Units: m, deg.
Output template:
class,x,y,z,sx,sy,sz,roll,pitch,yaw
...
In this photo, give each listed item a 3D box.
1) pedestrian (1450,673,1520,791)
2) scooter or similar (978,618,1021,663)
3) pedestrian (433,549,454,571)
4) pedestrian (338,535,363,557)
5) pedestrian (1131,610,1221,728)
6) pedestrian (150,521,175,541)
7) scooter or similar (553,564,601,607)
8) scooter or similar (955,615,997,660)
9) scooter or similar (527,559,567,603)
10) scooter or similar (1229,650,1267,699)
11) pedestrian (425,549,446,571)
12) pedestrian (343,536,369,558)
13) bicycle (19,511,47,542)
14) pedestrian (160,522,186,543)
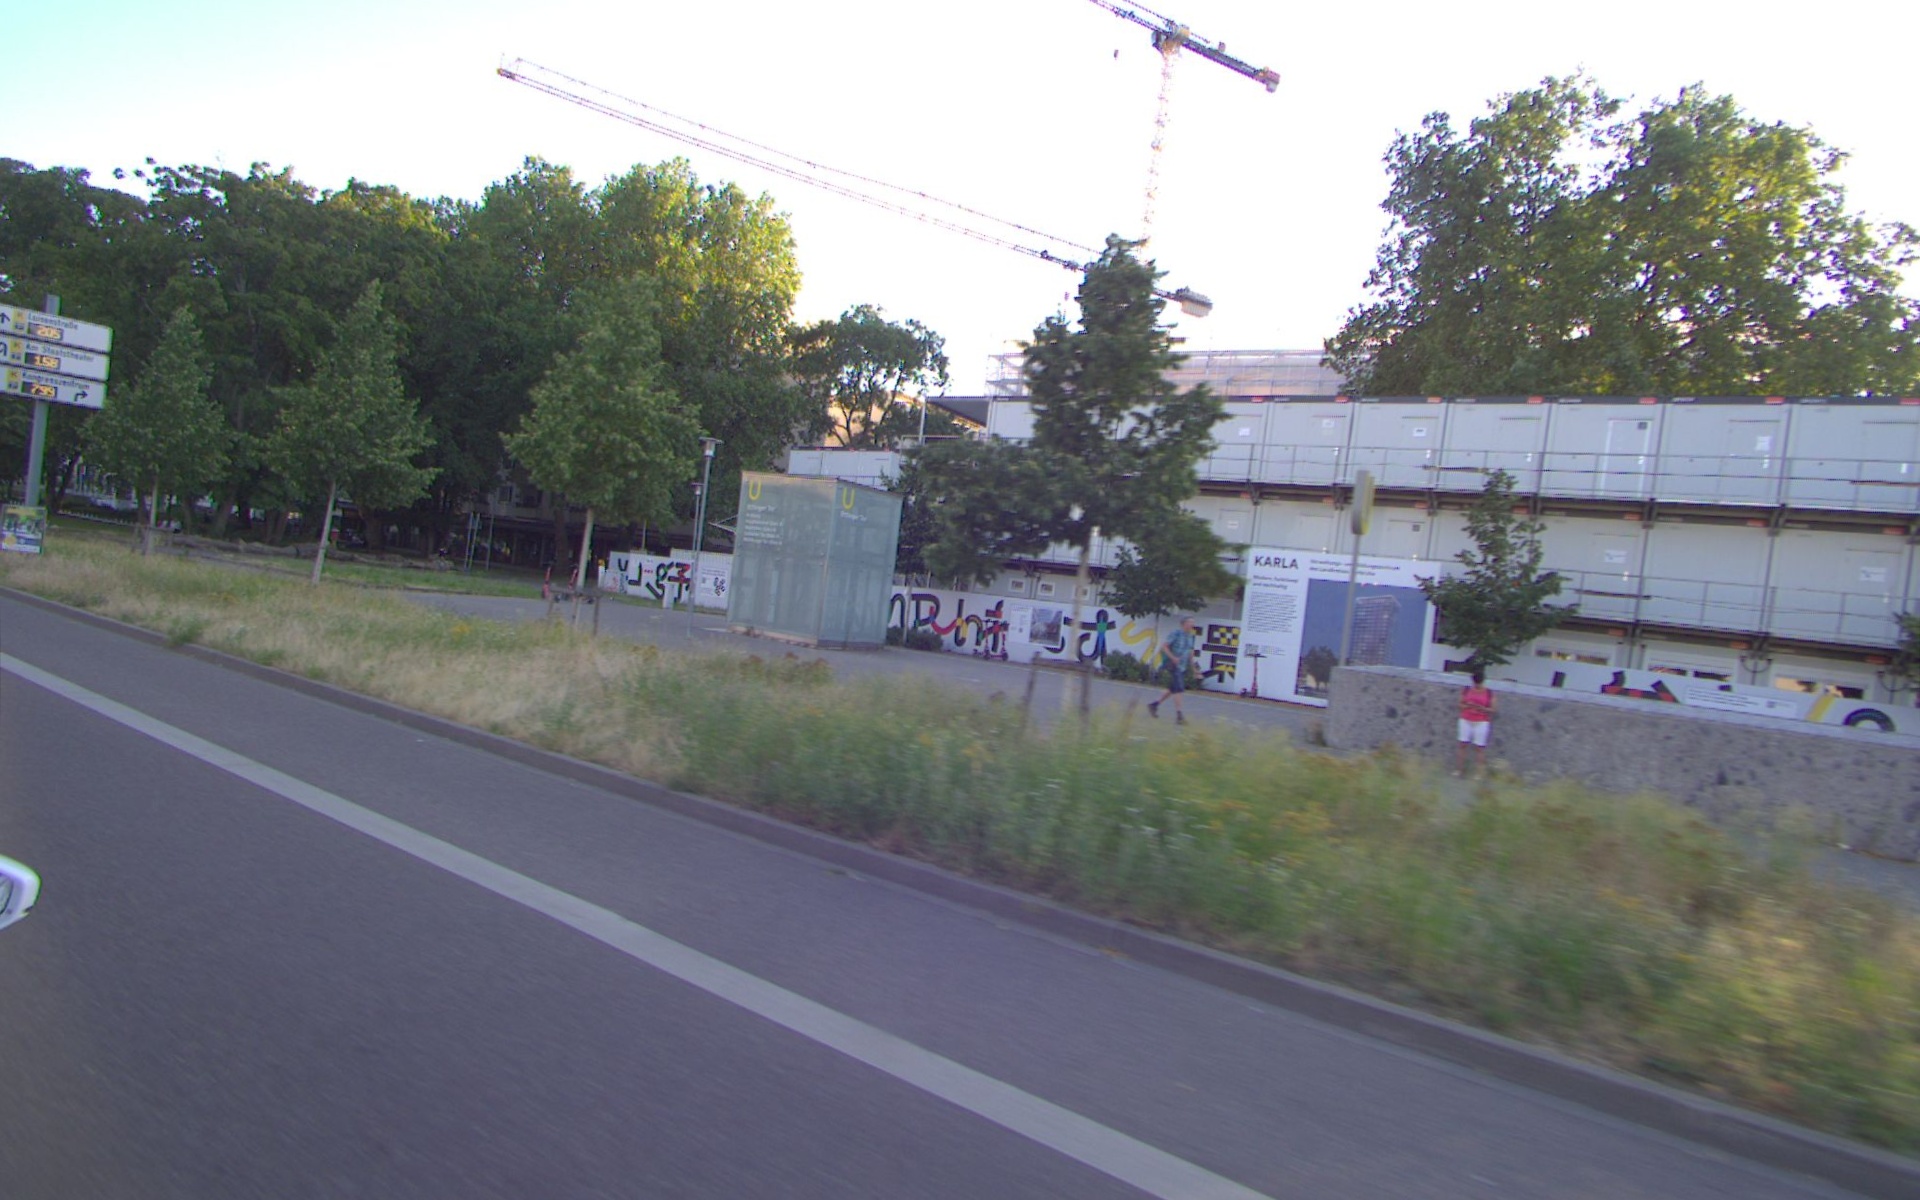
class,x,y,z,sx,sy,sz,roll,pitch,yaw
pedestrian,7.353,1.827,14.086,0.633,1.510,0.761,9,2,30
scooter or similar,1.210,1.236,30.536,0.467,1.235,1.572,7,-1,31
pedestrian,-31.456,-2.440,61.263,0.753,1.179,0.787,7,1,28
pedestrian,-40.820,-3.622,67.371,0.714,1.276,1.131,7,1,36
pedestrian,3.689,1.178,17.175,1.031,1.838,0.813,8,2,39
pedestrian,-39.052,-3.378,49.273,0.582,0.895,0.681,7,1,9
scooter or similar,-12.417,-0.476,32.613,1.547,1.237,0.473,7,4,27
scooter or similar,0.506,1.168,30.921,0.467,1.235,1.572,7,-1,31
scooter or similar,-12.979,-0.599,31.586,1.376,1.237,0.423,7,4,34
scooter or similar,7.771,2.012,27.080,0.467,1.236,1.571,7,0,31
pedestrian,-32.170,-2.449,61.731,0.753,1.179,0.787,7,1,28
pedestrian,-40.102,-3.529,66.770,0.891,1.276,1.131,7,1,36
bicycle,-33.050,-2.622,35.868,0.491,1.019,1.879,3,3,-36
pedestrian,-38.457,-3.314,49.152,0.611,0.895,0.681,7,1,10
